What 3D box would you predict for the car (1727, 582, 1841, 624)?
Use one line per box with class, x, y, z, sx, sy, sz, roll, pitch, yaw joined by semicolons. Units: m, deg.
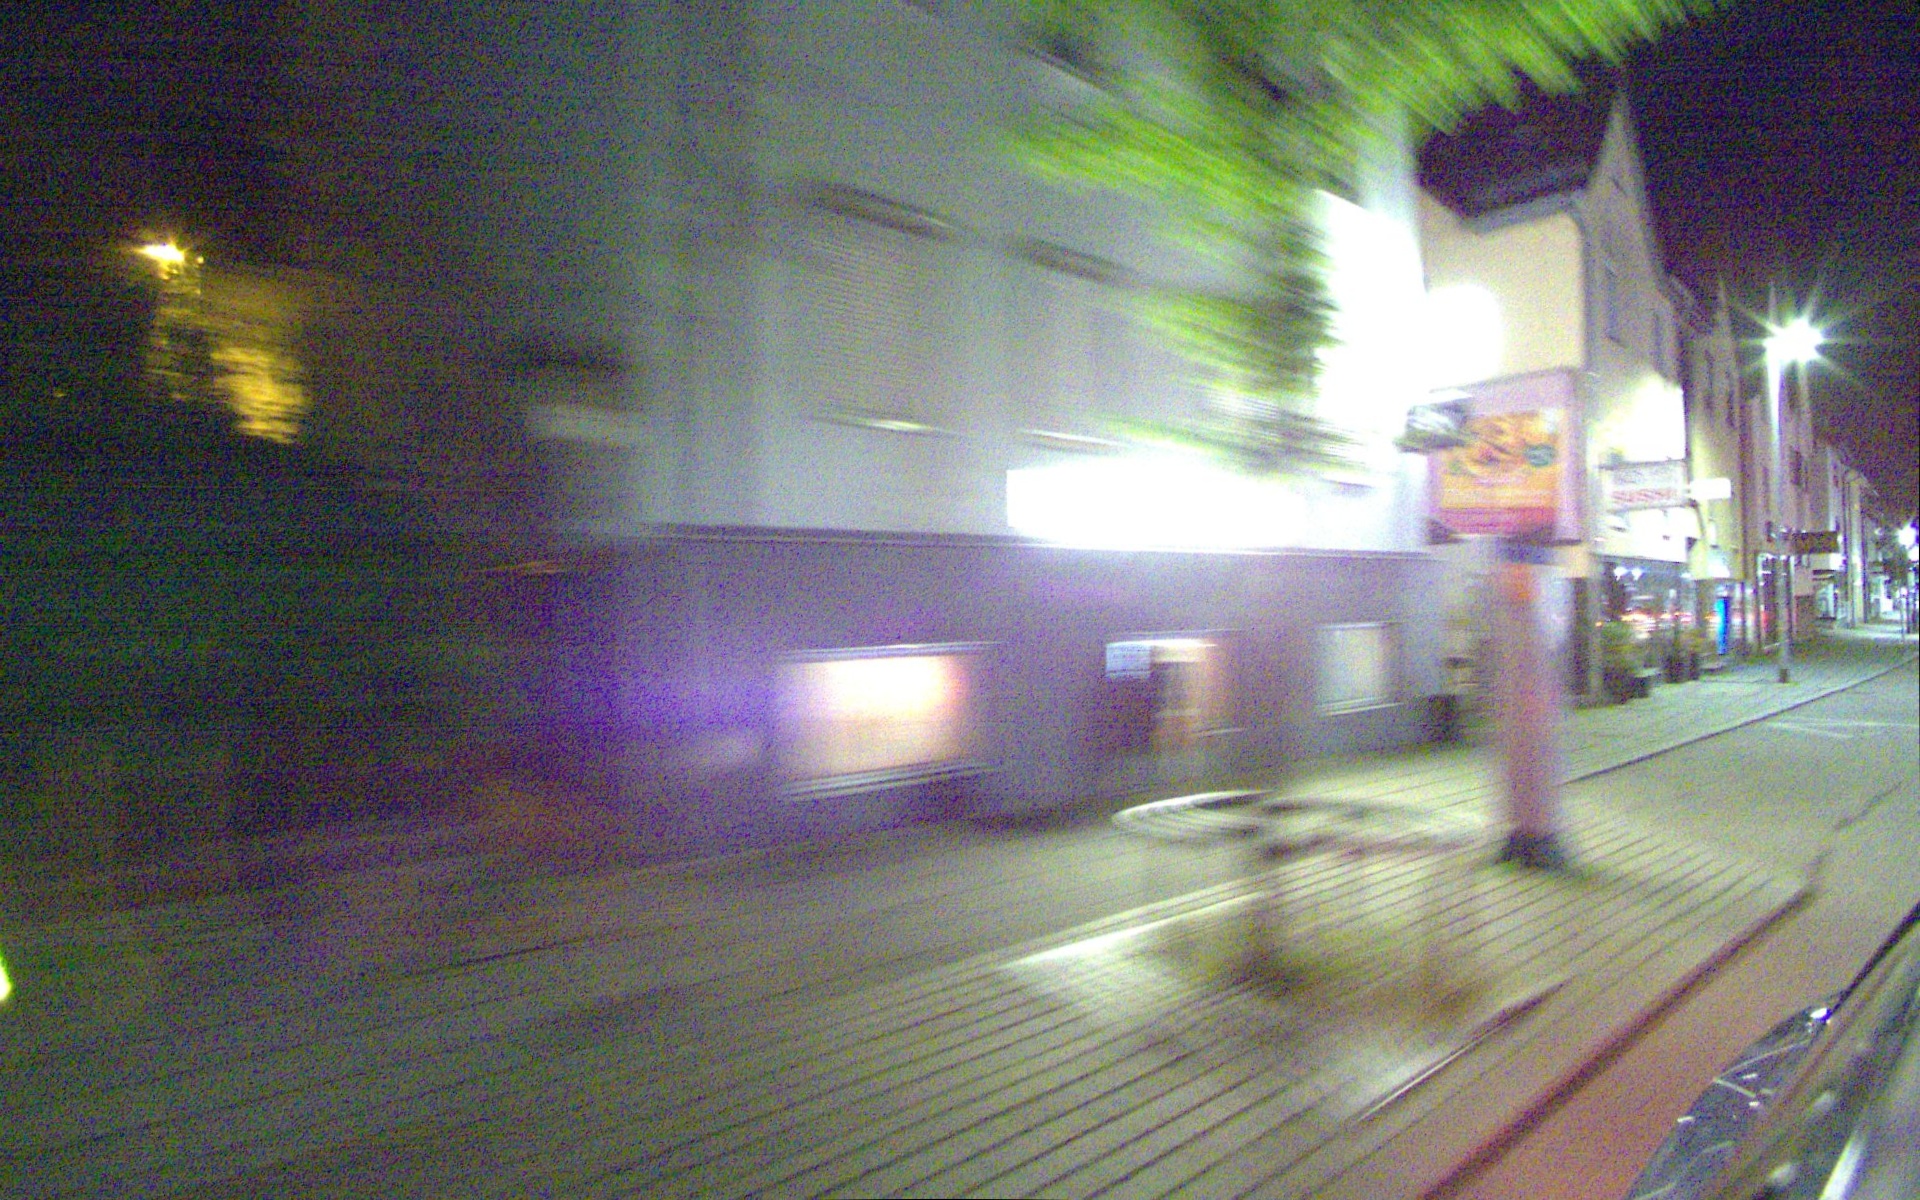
car;38.342;0.109;47.146;3.909;1.606;1.618;6;4;44
